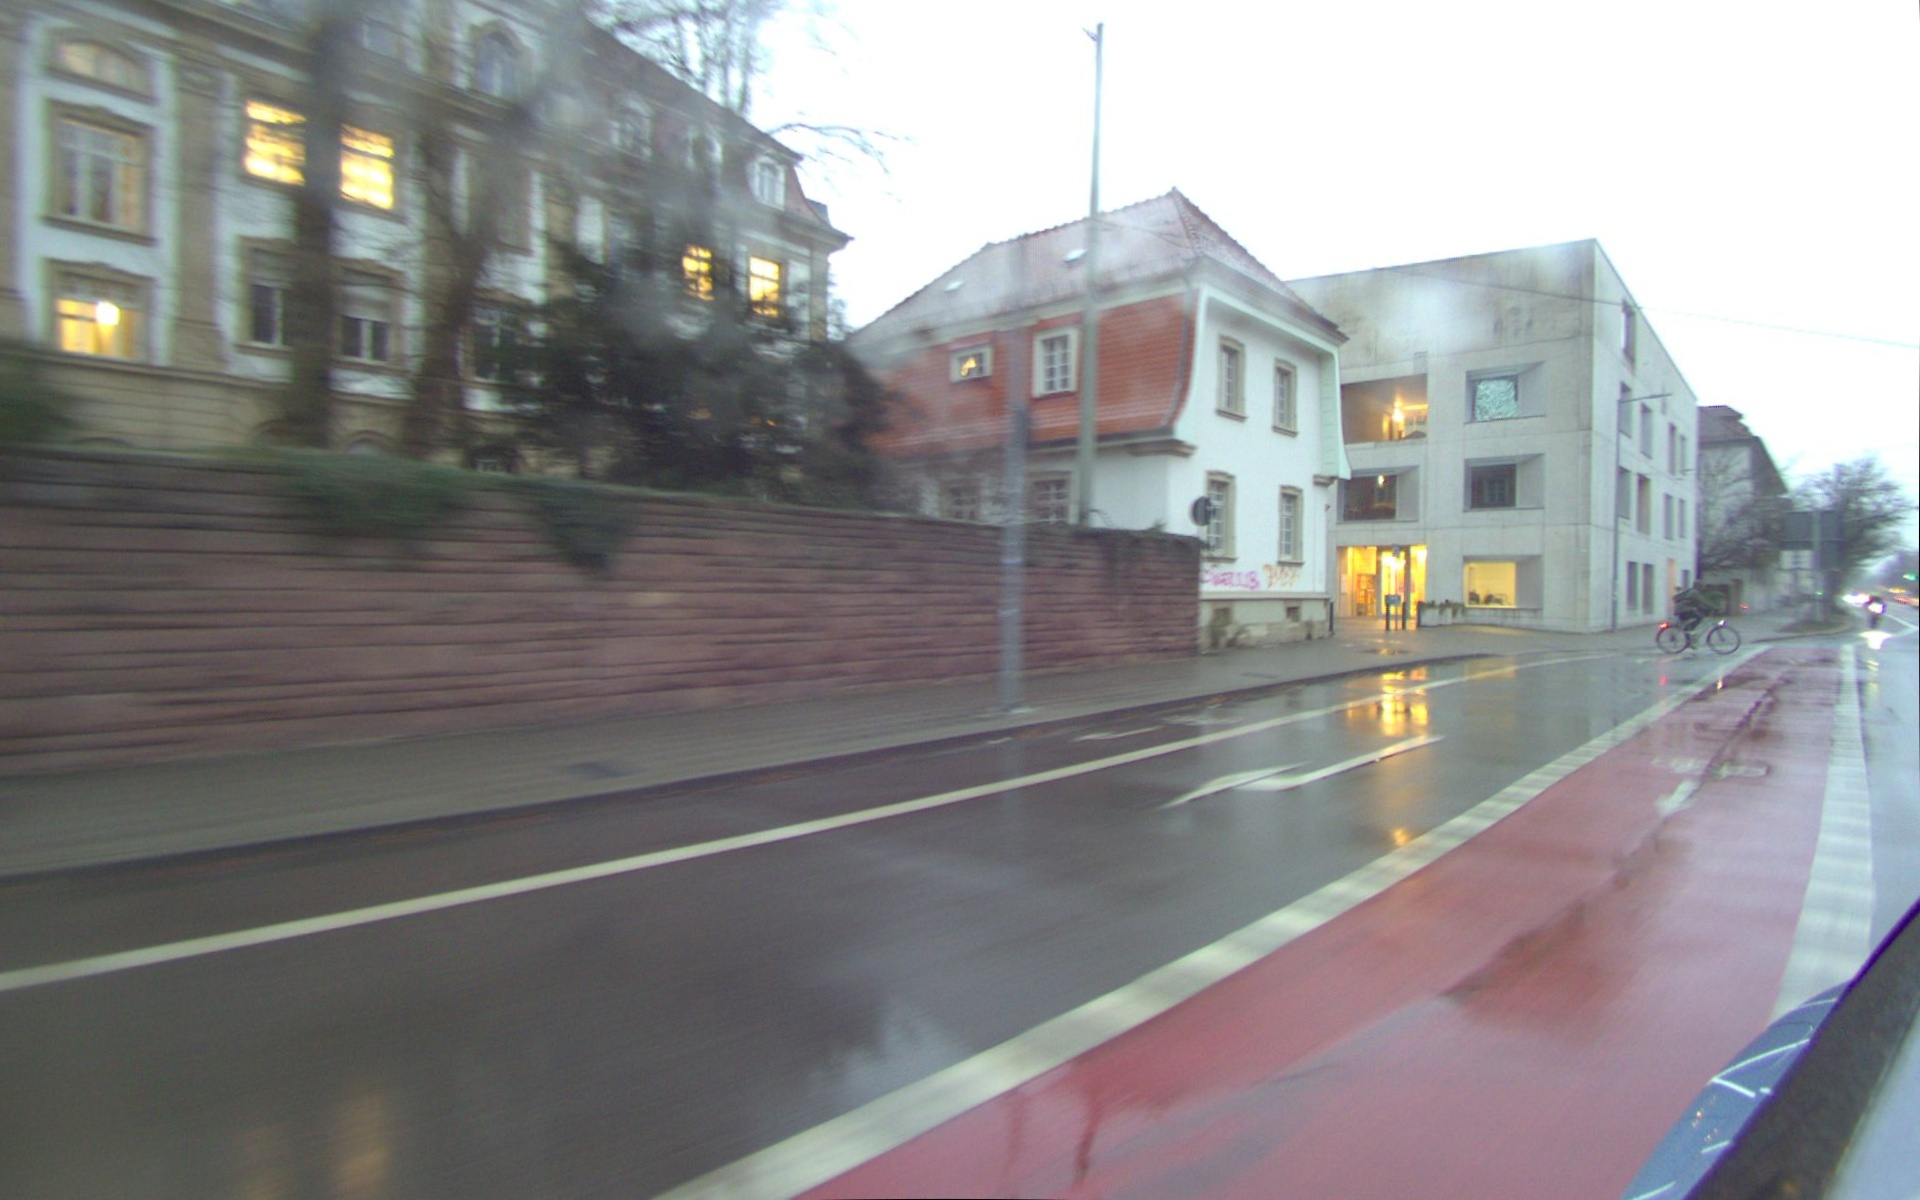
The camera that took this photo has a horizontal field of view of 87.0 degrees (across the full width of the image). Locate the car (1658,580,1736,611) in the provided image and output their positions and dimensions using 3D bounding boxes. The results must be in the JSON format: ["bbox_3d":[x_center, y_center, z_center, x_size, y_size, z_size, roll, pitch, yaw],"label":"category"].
[{"bbox_3d":[42.852,-0.250,58.870,3.447,1.668,1.705,-2,-1,43],"label":"car"}]

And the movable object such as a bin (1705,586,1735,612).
[{"bbox_3d":[43.580,-0.093,58.007,1.256,1.464,1.397,1,1,43],"label":"movable object such as a bin"}]

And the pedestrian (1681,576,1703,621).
[{"bbox_3d":[31.355,-0.064,43.342,0.656,1.883,0.649,2,2,44],"label":"pedestrian"}]

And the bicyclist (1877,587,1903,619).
[{"bbox_3d":[41.263,0.139,44.909,0.707,1.360,0.716,-1,-1,-41],"label":"bicyclist"}]

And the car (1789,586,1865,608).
[{"bbox_3d":[63.560,-0.203,74.295,3.817,1.447,1.846,-2,-1,26],"label":"car"}]

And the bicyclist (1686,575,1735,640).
[{"bbox_3d":[18.955,0.173,25.560,0.767,1.615,0.855,-1,1,-43],"label":"bicyclist"}]

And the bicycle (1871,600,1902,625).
[{"bbox_3d":[41.087,0.559,44.877,2.245,1.104,0.723,1,-2,-41],"label":"bicycle"}]

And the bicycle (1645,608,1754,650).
[{"bbox_3d":[18.827,0.712,25.792,0.928,0.956,2.118,-1,1,-43],"label":"bicycle"}]

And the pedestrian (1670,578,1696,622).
[{"bbox_3d":[31.117,-0.021,43.580,0.771,1.881,0.707,2,2,44],"label":"pedestrian"}]
